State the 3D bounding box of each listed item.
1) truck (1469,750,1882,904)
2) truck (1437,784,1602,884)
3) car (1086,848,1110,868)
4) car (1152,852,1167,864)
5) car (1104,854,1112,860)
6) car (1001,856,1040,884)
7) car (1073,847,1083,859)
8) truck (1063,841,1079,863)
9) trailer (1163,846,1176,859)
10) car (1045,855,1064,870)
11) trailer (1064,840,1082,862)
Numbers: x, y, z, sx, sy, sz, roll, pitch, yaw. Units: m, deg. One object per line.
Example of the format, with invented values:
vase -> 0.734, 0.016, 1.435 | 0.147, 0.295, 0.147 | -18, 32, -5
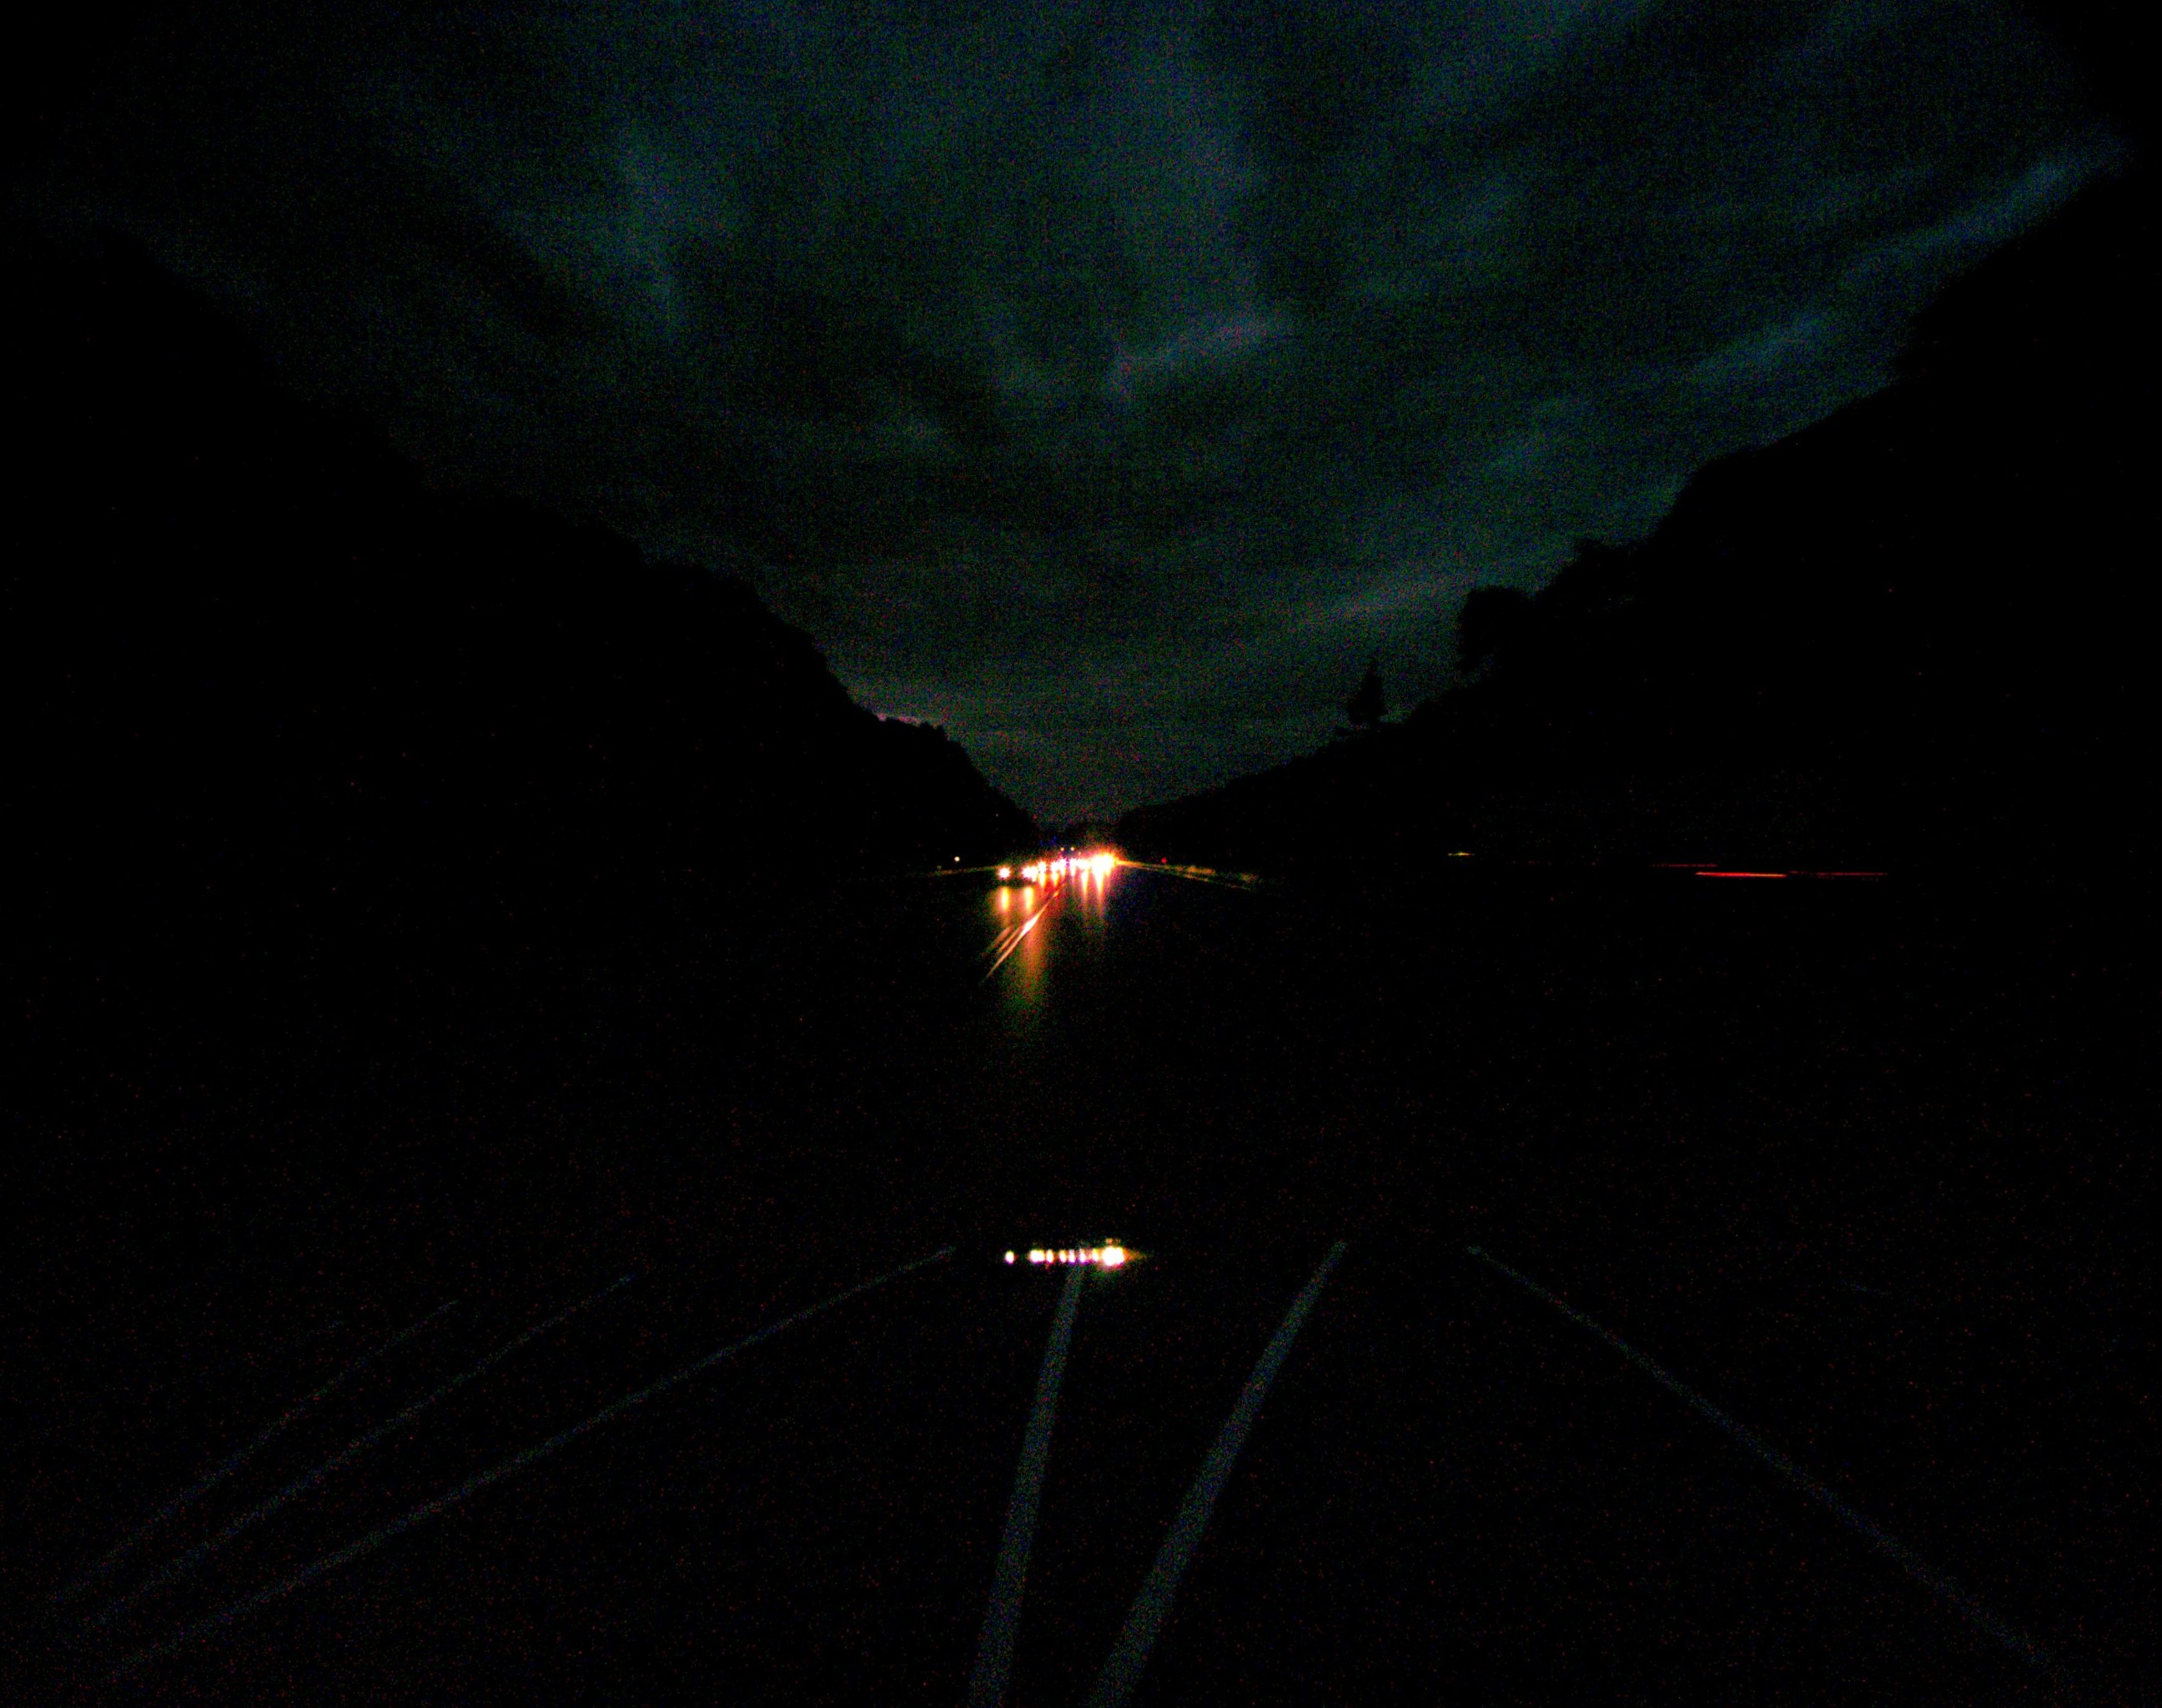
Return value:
truck -> 19.188, -0.719, 27.029 | 3.365, 3.980, 14.495 | -1, 0, 0
truck -> 19.232, -0.801, 33.943 | 3.389, 3.980, 6.879 | -1, 0, 0
car -> 1.635, 0.372, 72.076 | 1.869, 1.701, 4.585 | -2, 1, 5
car -> 13.012, 0.699, 125.791 | 1.935, 1.920, 5.111 | 0, 0, -1
car -> 6.291, 0.677, 178.878 | 1.695, 1.481, 4.948 | -1, 1, 1
car -> -3.430, 0.894, 43.943 | 1.870, 1.427, 4.583 | -3, 1, 0
car -> -0.897, -0.395, 232.929 | 2.998, 3.659, 9.999 | -1, 0, 1
truck -> -1.851, -0.420, 144.035 | 2.497, 3.945, 5.589 | -2, 2, 2
trailer -> 29.829, -0.654, 257.336 | 3.198, 4.081, 14.183 | -2, 1, 2
car -> -2.767, 0.847, 79.236 | 1.695, 1.481, 4.949 | -1, 0, 1
trailer -> -1.509, -0.634, 151.315 | 2.488, 4.050, 13.504 | -2, 1, 3
